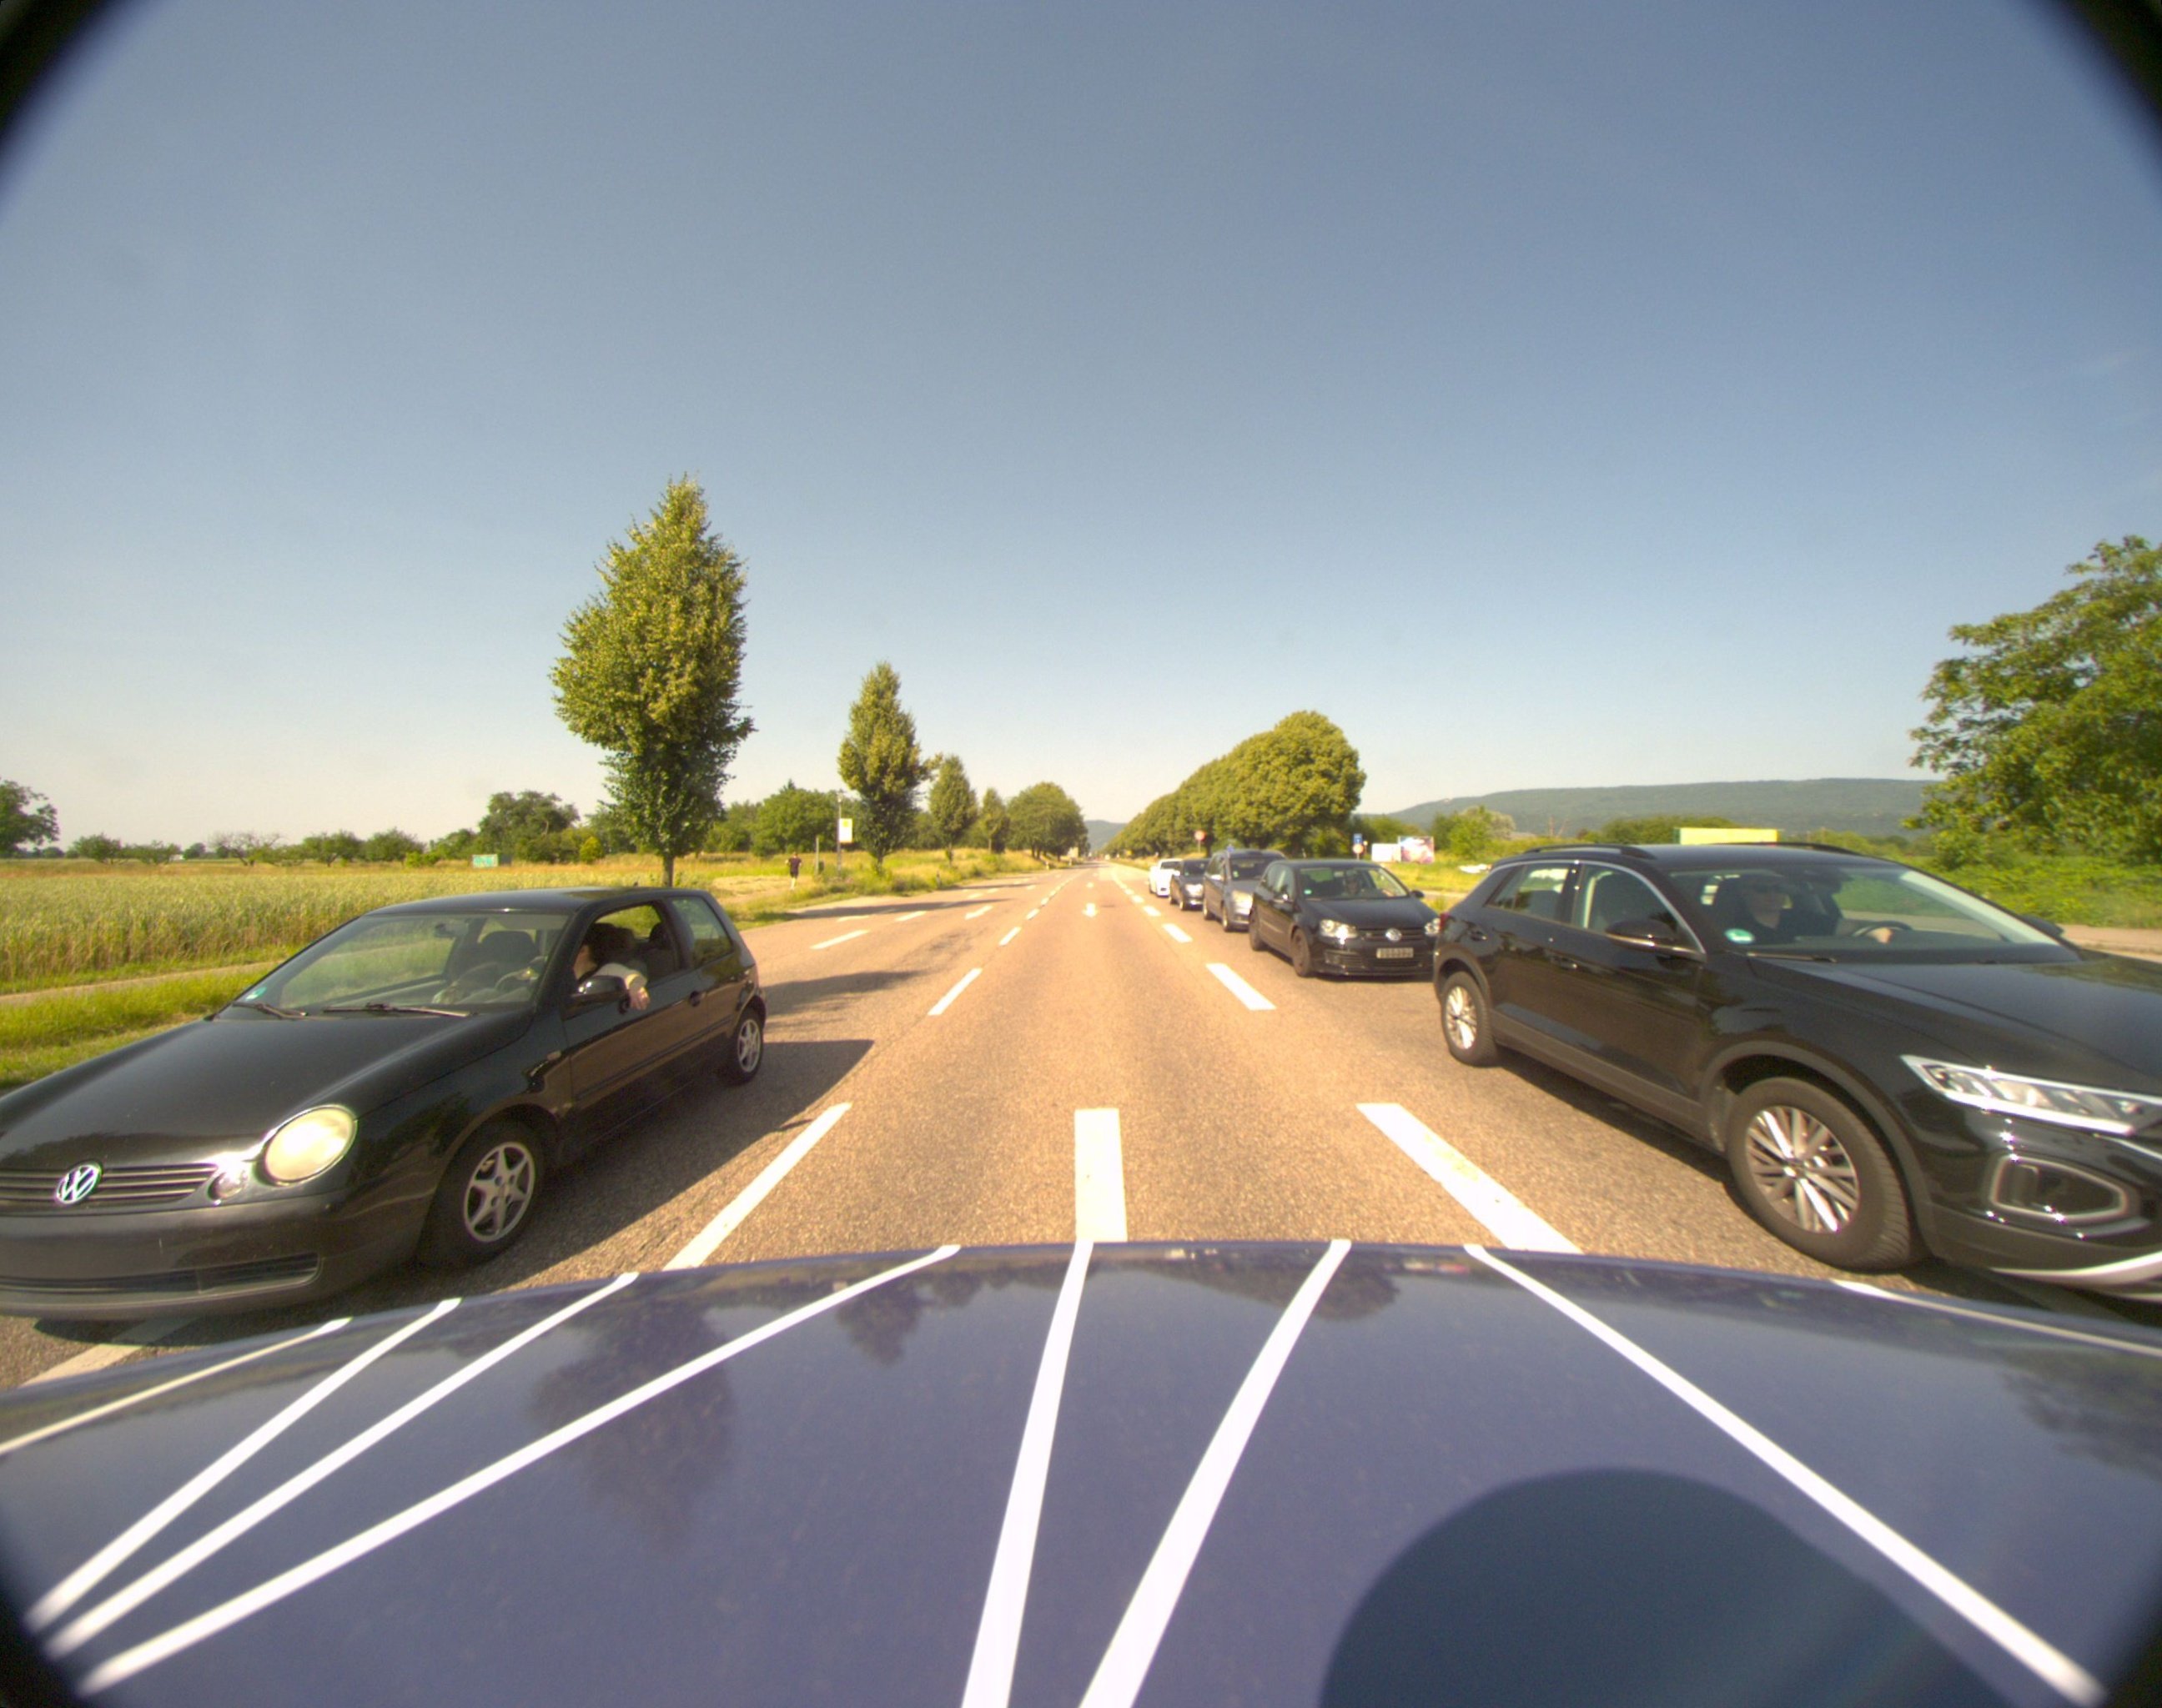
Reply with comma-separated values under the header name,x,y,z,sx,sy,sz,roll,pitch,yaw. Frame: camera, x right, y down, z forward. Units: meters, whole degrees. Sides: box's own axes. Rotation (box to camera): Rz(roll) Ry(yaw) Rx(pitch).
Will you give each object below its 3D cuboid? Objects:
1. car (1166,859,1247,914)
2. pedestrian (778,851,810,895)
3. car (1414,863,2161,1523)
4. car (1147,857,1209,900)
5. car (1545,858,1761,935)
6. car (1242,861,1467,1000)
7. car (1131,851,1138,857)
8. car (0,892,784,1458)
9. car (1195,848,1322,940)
name,x,y,z,sx,sy,sz,roll,pitch,yaw
car,3.555,0.871,22.219,1.719,1.402,4.355,-1,0,1
pedestrian,-12.304,0.794,32.594,0.904,1.828,1.194,0,0,-1
car,3.443,0.852,3.883,1.733,1.538,4.098,-1,0,1
car,3.621,0.873,29.145,1.808,1.417,4.641,-1,0,1
car,13.289,0.901,18.037,1.887,1.506,4.147,2,0,-1
car,3.457,0.868,10.447,1.670,1.466,4.098,-1,0,1
car,17.025,0.067,242.456,1.998,1.830,4.953,2,0,1
car,-3.112,1.031,4.001,1.629,1.425,3.622,-2,0,0
car,3.605,0.748,16.227,1.745,1.662,4.357,-1,0,1
